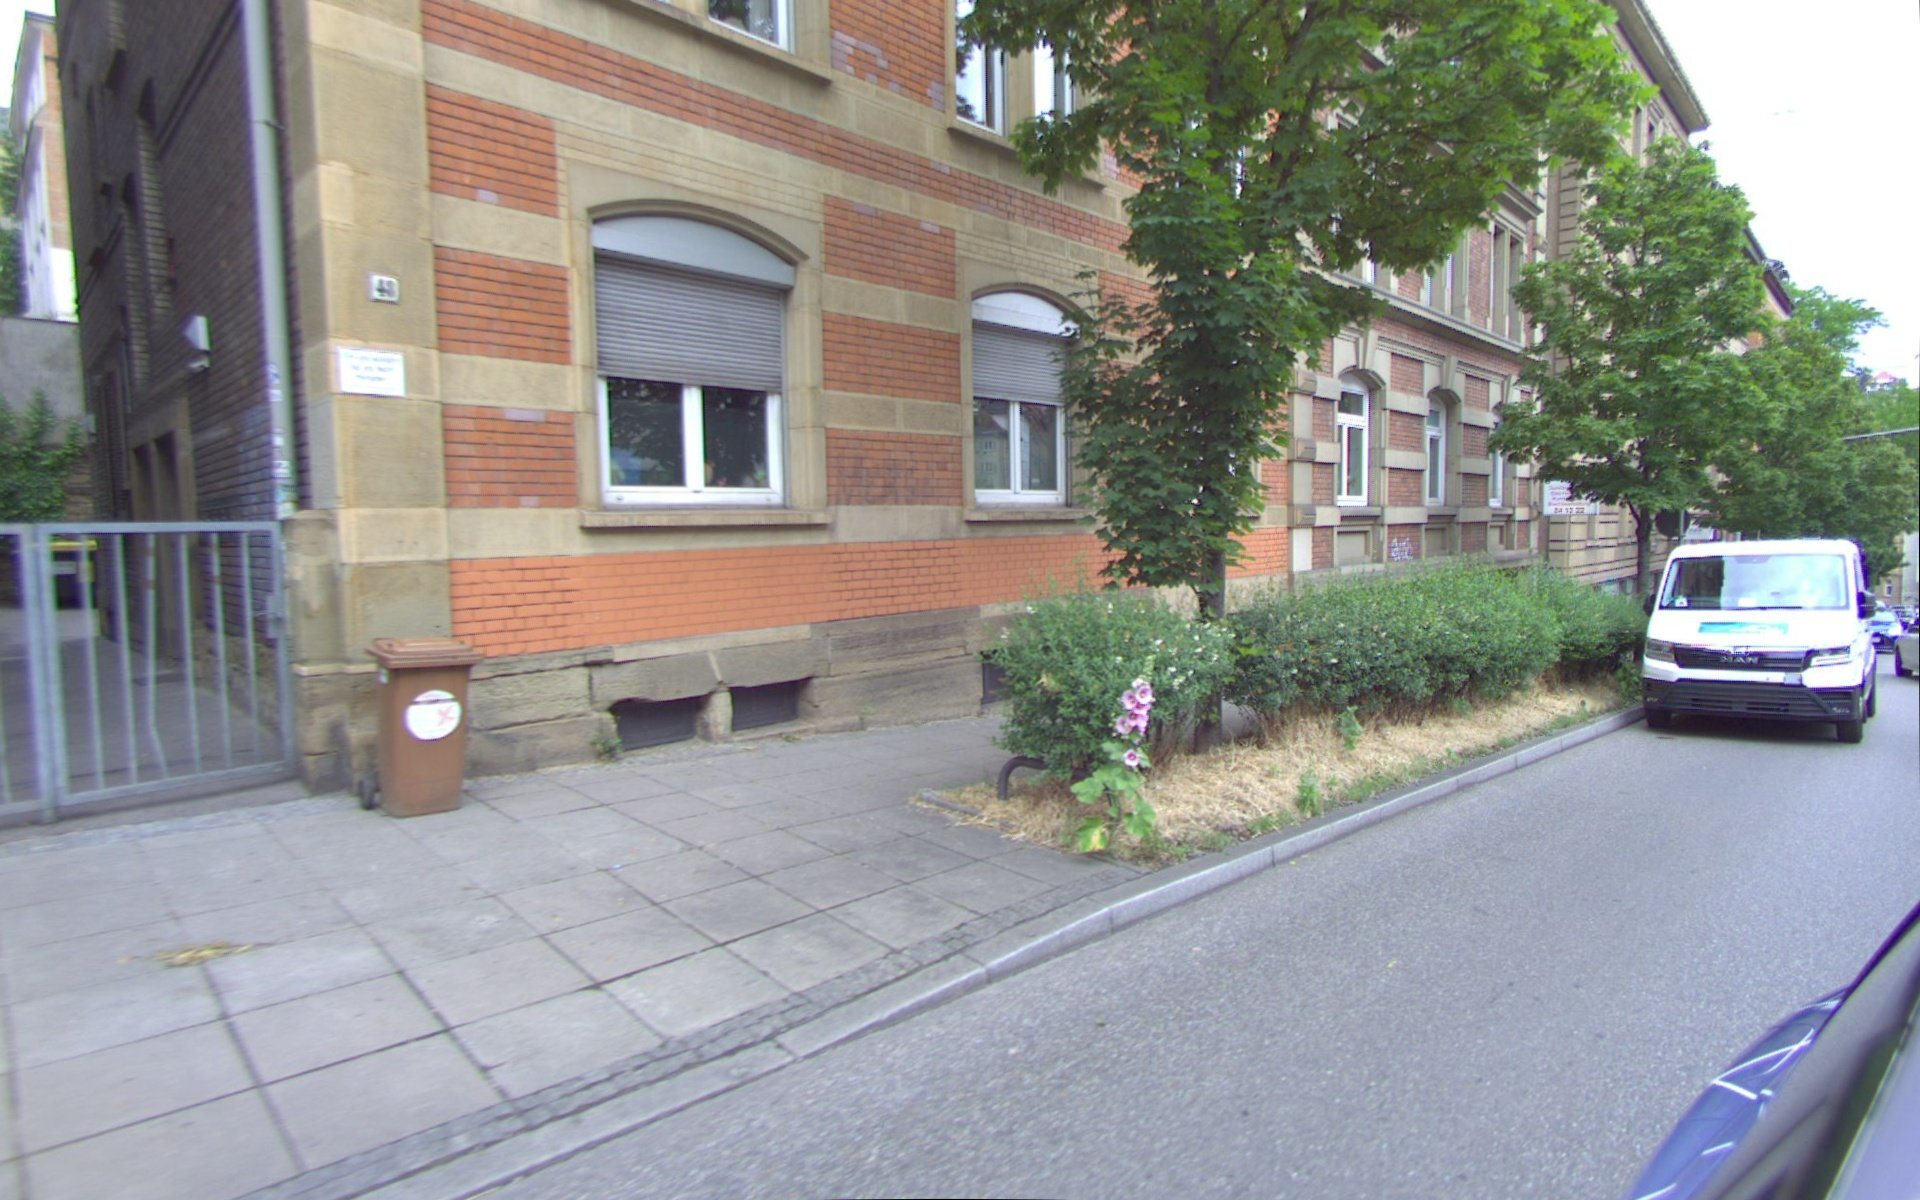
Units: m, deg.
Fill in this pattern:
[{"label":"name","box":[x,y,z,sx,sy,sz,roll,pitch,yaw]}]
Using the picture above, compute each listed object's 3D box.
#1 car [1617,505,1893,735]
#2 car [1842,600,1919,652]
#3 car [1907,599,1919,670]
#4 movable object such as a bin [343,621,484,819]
[{"label":"car","box":[10.465,0.194,13.087,2.258,2.316,5.873,1,0,44]},{"label":"car","box":[29.756,0.780,32.686,1.691,1.493,3.795,2,2,44]},{"label":"car","box":[19.785,0.702,19.497,1.797,1.417,3.947,1,1,37]},{"label":"movable object such as a bin","box":[-2.985,0.611,5.511,0.530,0.954,0.672,0,1,-42]}]
